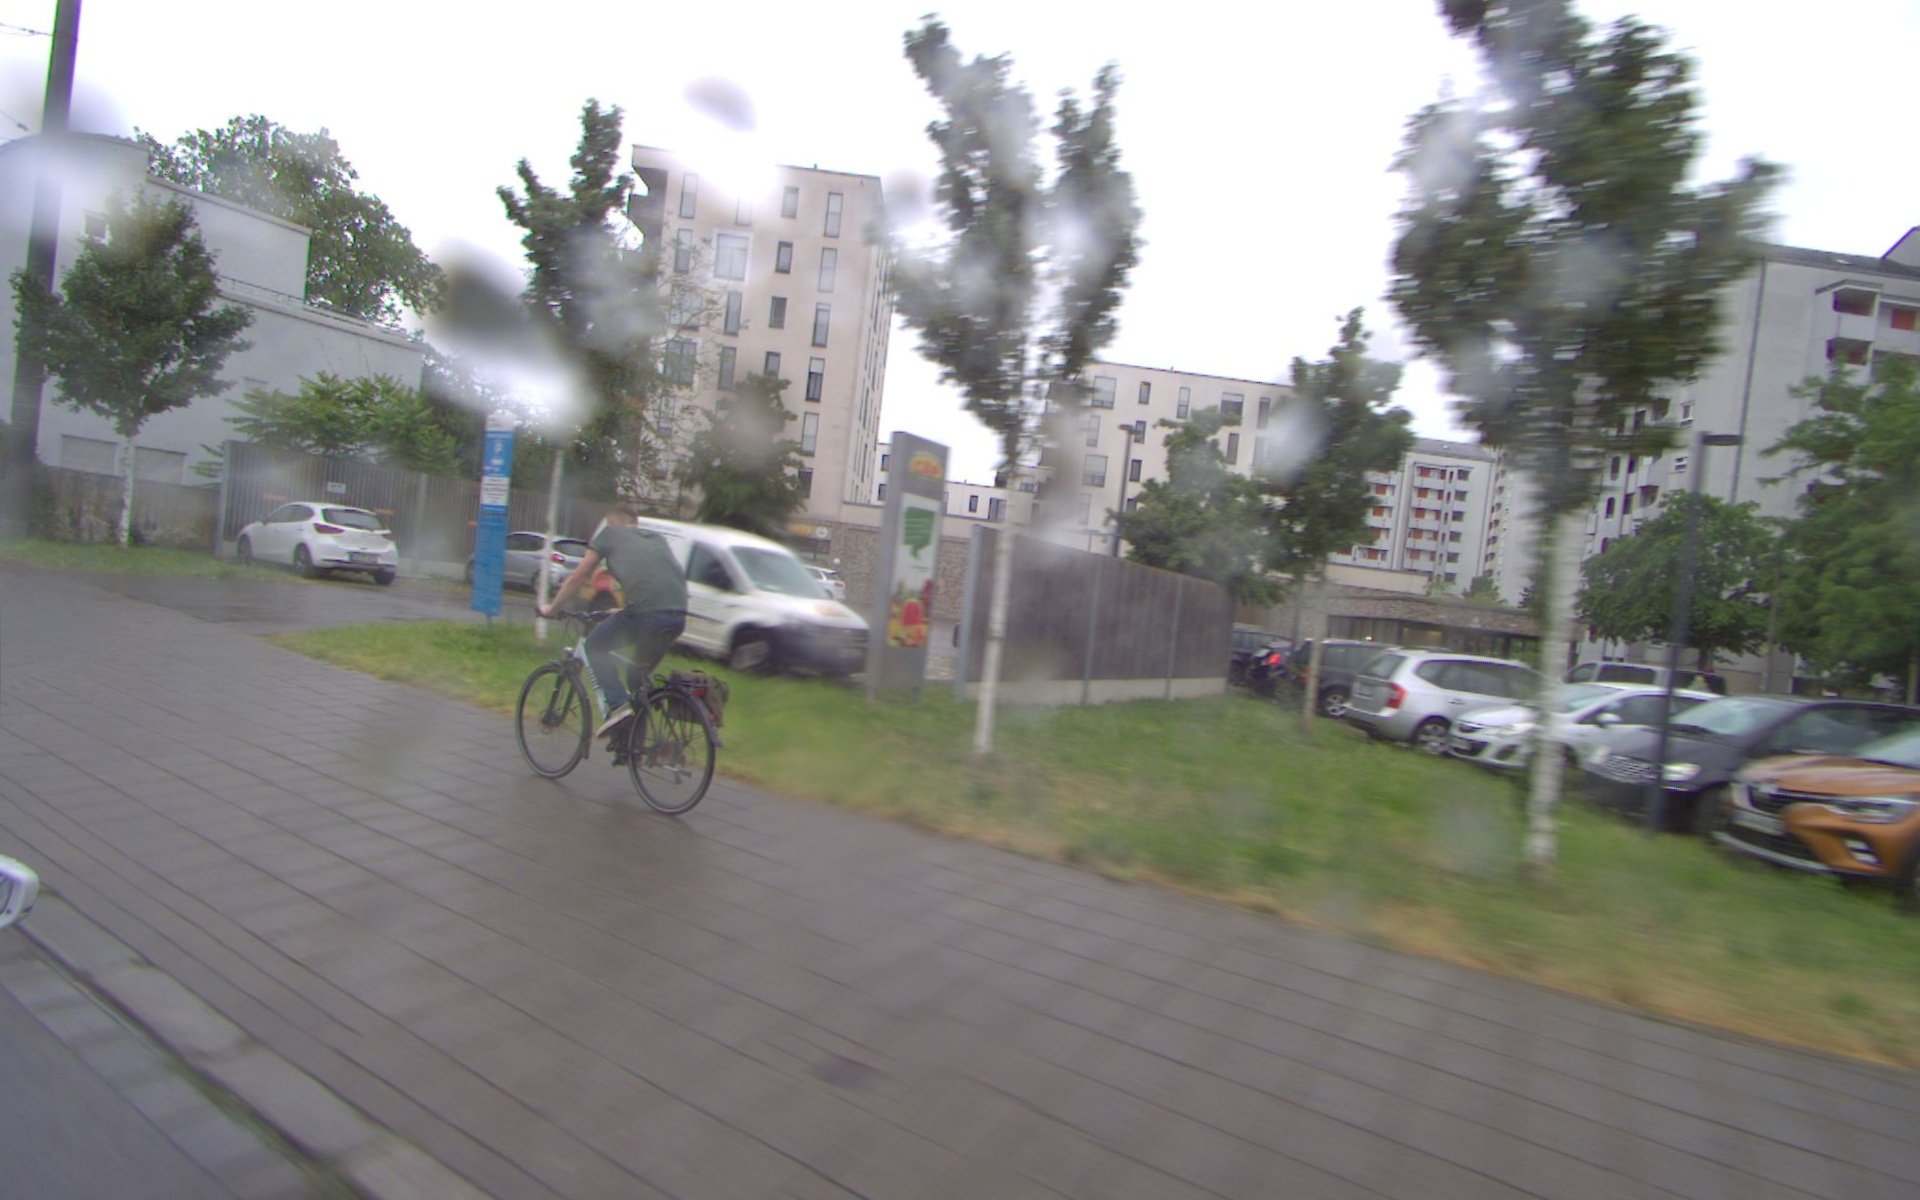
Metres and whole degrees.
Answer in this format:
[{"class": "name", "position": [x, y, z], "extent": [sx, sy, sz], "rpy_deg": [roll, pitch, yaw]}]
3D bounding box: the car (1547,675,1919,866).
[{"class": "car", "position": [8.964, 1.831, 10.872], "extent": [3.925, 1.459, 2.001], "rpy_deg": [7, 0, 3]}]

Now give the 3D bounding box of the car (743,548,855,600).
[{"class": "car", "position": [-6.786, -1.096, 42.848], "extent": [4.283, 1.554, 1.969], "rpy_deg": [8, 1, 0]}]

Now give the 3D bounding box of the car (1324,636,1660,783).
[{"class": "car", "position": [8.523, 1.723, 16.400], "extent": [4.285, 1.606, 1.968], "rpy_deg": [8, 1, -3]}]

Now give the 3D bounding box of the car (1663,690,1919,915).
[{"class": "car", "position": [8.566, 1.778, 8.329], "extent": [3.925, 1.459, 2.001], "rpy_deg": [7, 0, 3]}]

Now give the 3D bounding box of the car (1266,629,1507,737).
[{"class": "car", "position": [9.253, 1.780, 22.061], "extent": [4.285, 1.629, 1.968], "rpy_deg": [8, 1, -3]}]

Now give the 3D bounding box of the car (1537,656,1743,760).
[{"class": "car", "position": [16.857, 2.595, 25.260], "extent": [1.959, 1.941, 4.277], "rpy_deg": [8, -1, -1]}]

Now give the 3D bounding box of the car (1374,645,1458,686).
[{"class": "car", "position": [22.013, 3.144, 48.740], "extent": [1.963, 1.547, 3.999], "rpy_deg": [7, -1, -2]}]

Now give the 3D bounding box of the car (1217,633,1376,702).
[{"class": "car", "position": [9.854, 1.952, 29.698], "extent": [3.925, 1.459, 2.000], "rpy_deg": [7, 0, 2]}]

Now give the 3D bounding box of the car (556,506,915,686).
[{"class": "car", "position": [-3.224, -0.104, 14.013], "extent": [4.818, 1.806, 1.965], "rpy_deg": [8, 1, 34]}]

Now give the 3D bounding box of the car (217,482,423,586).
[{"class": "car", "position": [-13.323, -1.387, 20.878], "extent": [4.293, 1.554, 1.965], "rpy_deg": [8, 1, 34]}]

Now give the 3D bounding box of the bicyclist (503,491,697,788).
[{"class": "bicyclist", "position": [-2.088, 0.216, 5.855], "extent": [0.758, 1.579, 0.535], "rpy_deg": [7, 0, 24]}]

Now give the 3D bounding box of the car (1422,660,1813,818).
[{"class": "car", "position": [8.860, 1.838, 13.879], "extent": [3.925, 1.459, 2.001], "rpy_deg": [7, 0, 3]}]

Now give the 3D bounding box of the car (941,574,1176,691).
[{"class": "car", "position": [2.158, 0.702, 22.594], "extent": [4.702, 1.893, 1.964], "rpy_deg": [8, 1, 34]}]

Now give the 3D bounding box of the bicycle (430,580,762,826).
[{"class": "bicycle", "position": [-2.156, 0.543, 5.879], "extent": [1.914, 1.106, 0.537], "rpy_deg": [7, 0, 25]}]

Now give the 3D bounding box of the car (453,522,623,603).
[{"class": "car", "position": [-10.579, -0.929, 25.228], "extent": [3.599, 1.465, 1.968], "rpy_deg": [8, 1, 27]}]

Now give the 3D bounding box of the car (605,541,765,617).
[{"class": "car", "position": [-7.868, -0.614, 28.679], "extent": [4.293, 1.554, 1.965], "rpy_deg": [8, 1, 34]}]

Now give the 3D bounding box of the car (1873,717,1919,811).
[{"class": "car", "position": [16.919, 2.887, 15.672], "extent": [1.782, 1.492, 3.797], "rpy_deg": [8, -1, 1]}]
